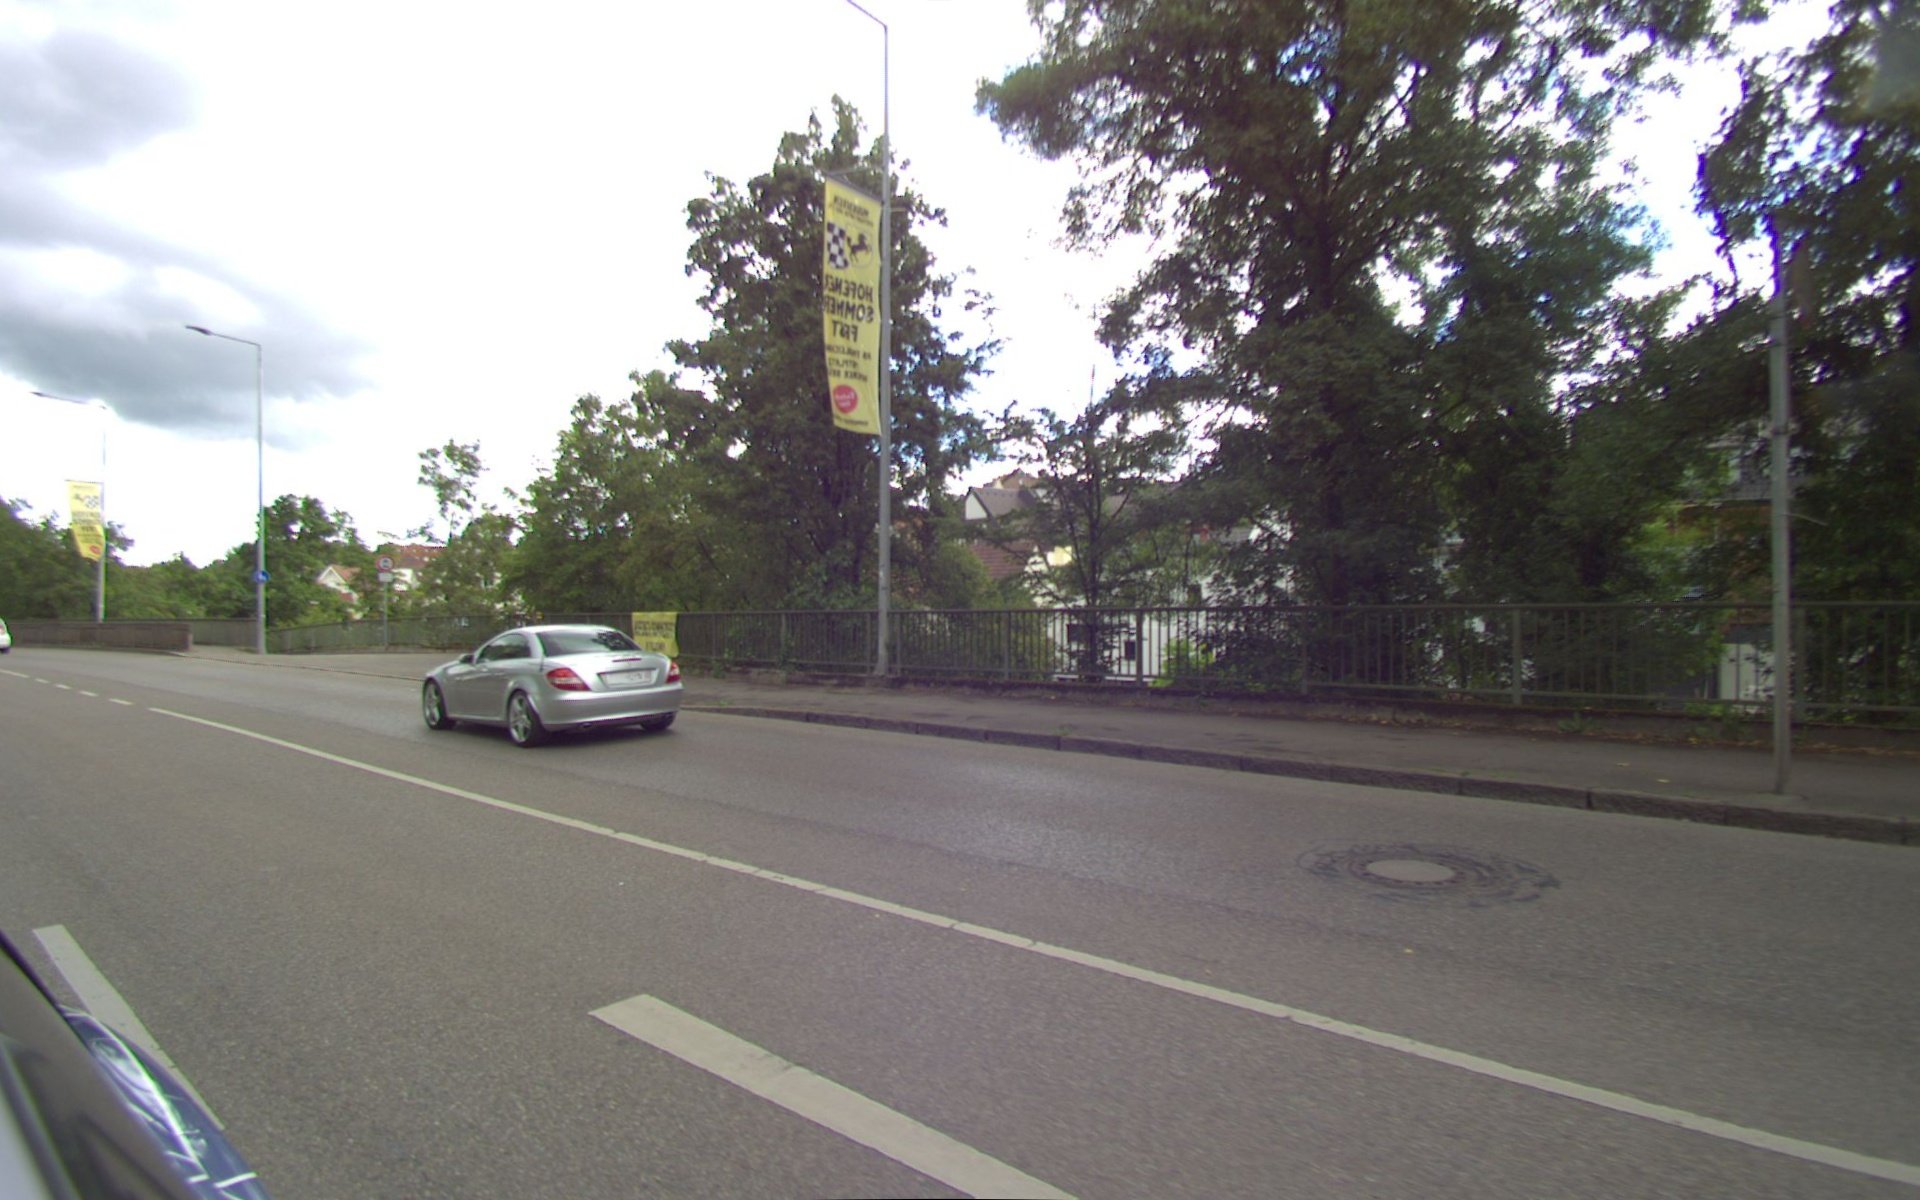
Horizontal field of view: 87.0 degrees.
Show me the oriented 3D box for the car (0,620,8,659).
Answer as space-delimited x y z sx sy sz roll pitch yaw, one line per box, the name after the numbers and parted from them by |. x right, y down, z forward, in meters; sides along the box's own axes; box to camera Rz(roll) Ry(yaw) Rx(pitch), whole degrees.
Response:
-38.368 1.561 38.944 3.682 1.477 1.569 -2 0 31 | car

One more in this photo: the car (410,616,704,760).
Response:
-4.827 0.917 11.908 3.695 1.347 1.740 -1 1 42 | car
